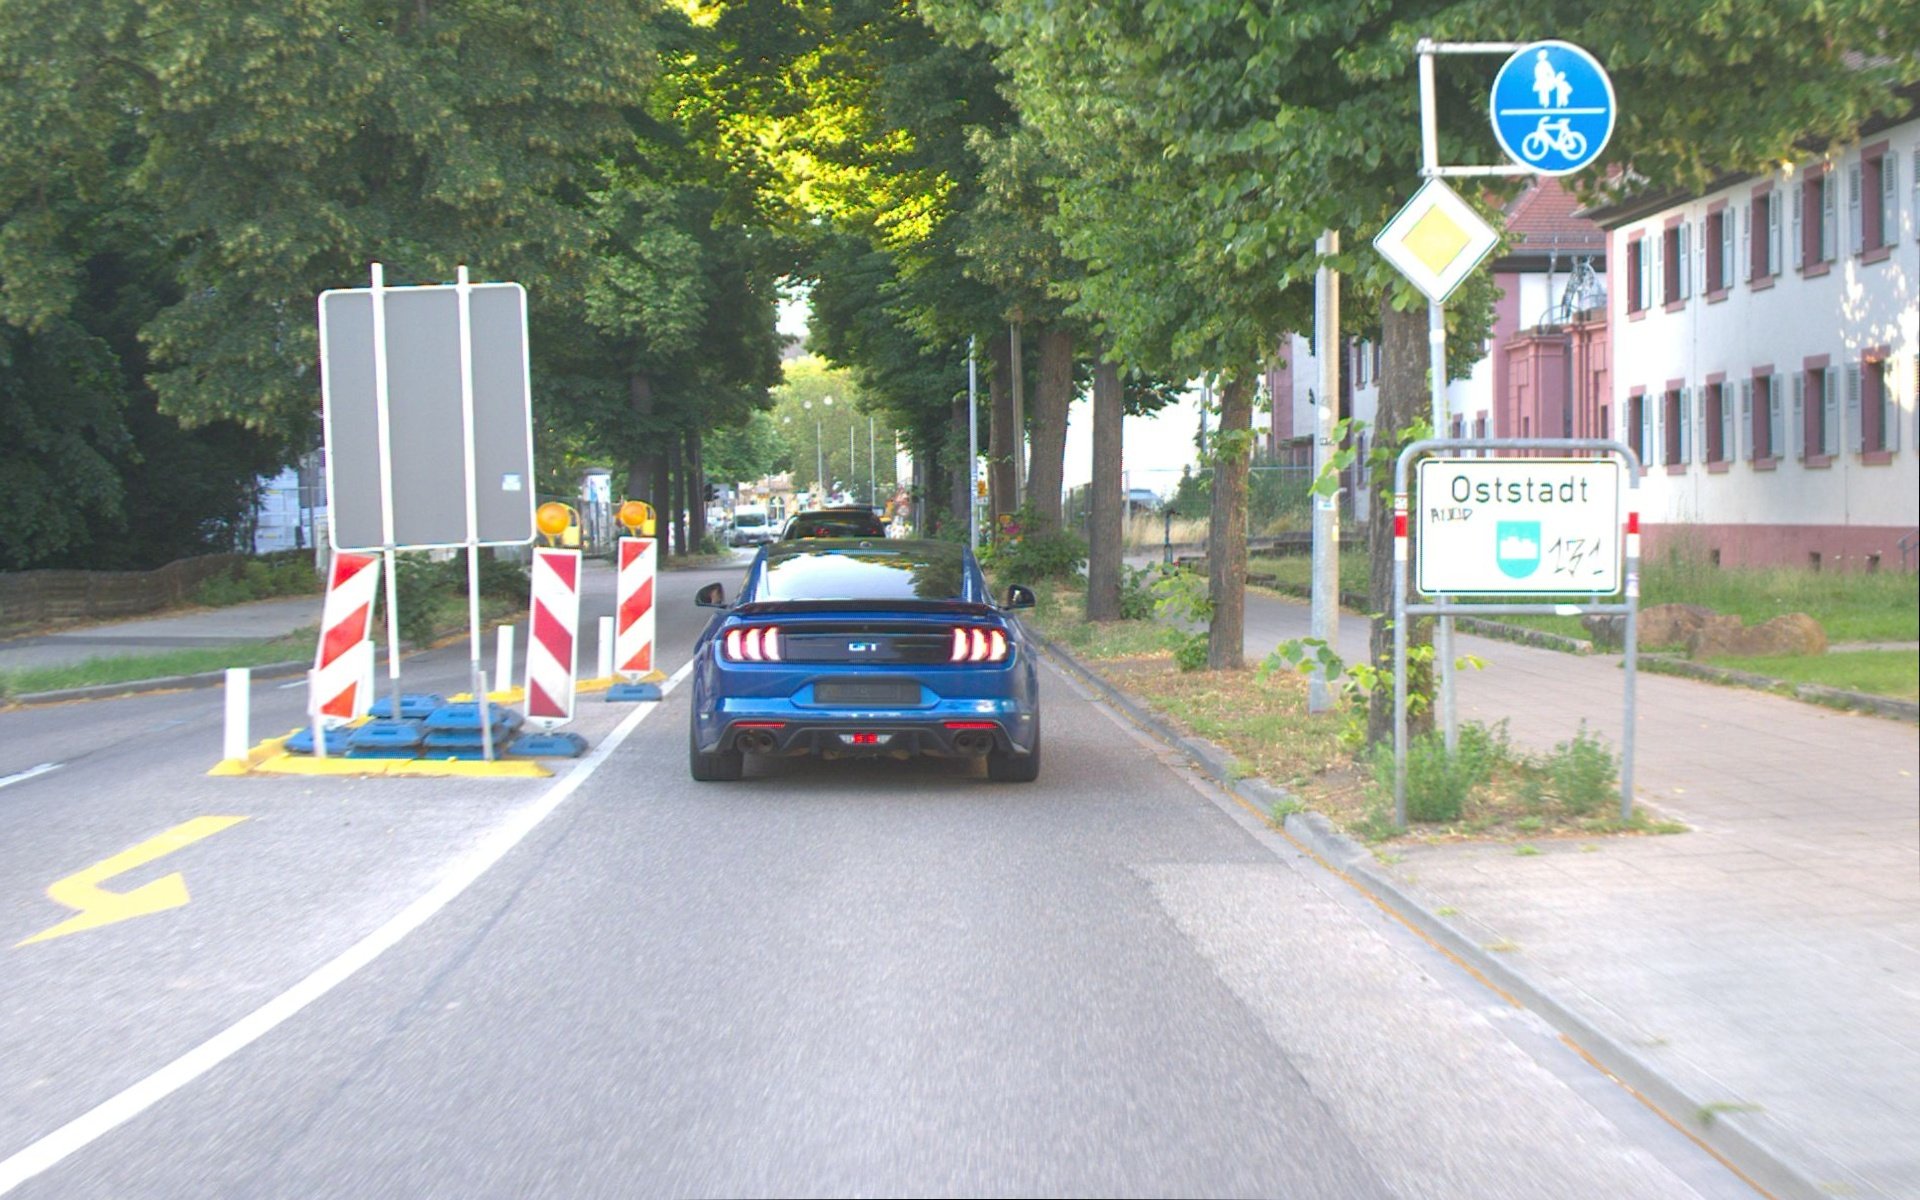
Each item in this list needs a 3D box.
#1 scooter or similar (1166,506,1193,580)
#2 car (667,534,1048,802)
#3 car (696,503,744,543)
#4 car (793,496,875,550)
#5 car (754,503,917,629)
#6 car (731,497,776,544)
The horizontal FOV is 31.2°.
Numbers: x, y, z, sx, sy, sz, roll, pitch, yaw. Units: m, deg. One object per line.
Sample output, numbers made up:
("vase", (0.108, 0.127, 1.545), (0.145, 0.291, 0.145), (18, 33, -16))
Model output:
("scooter or similar", (3.820, -0.992, 59.830), (0.239, 1.271, 1.267), (-1, 1, -7))
("car", (-0.603, 0.316, 19.821), (1.947, 1.322, 4.001), (1, 1, -2))
("car", (-13.414, -4.335, 192.481), (2.336, 2.190, 5.309), (-1, 1, 0))
("car", (-3.204, -1.987, 88.109), (1.947, 1.322, 4.000), (1, 1, 0))
("car", (-1.571, -0.472, 44.567), (1.947, 1.522, 4.000), (1, 1, 0))
("car", (-12.244, -4.736, 204.140), (2.492, 2.687, 5.831), (-1, 1, -2))
